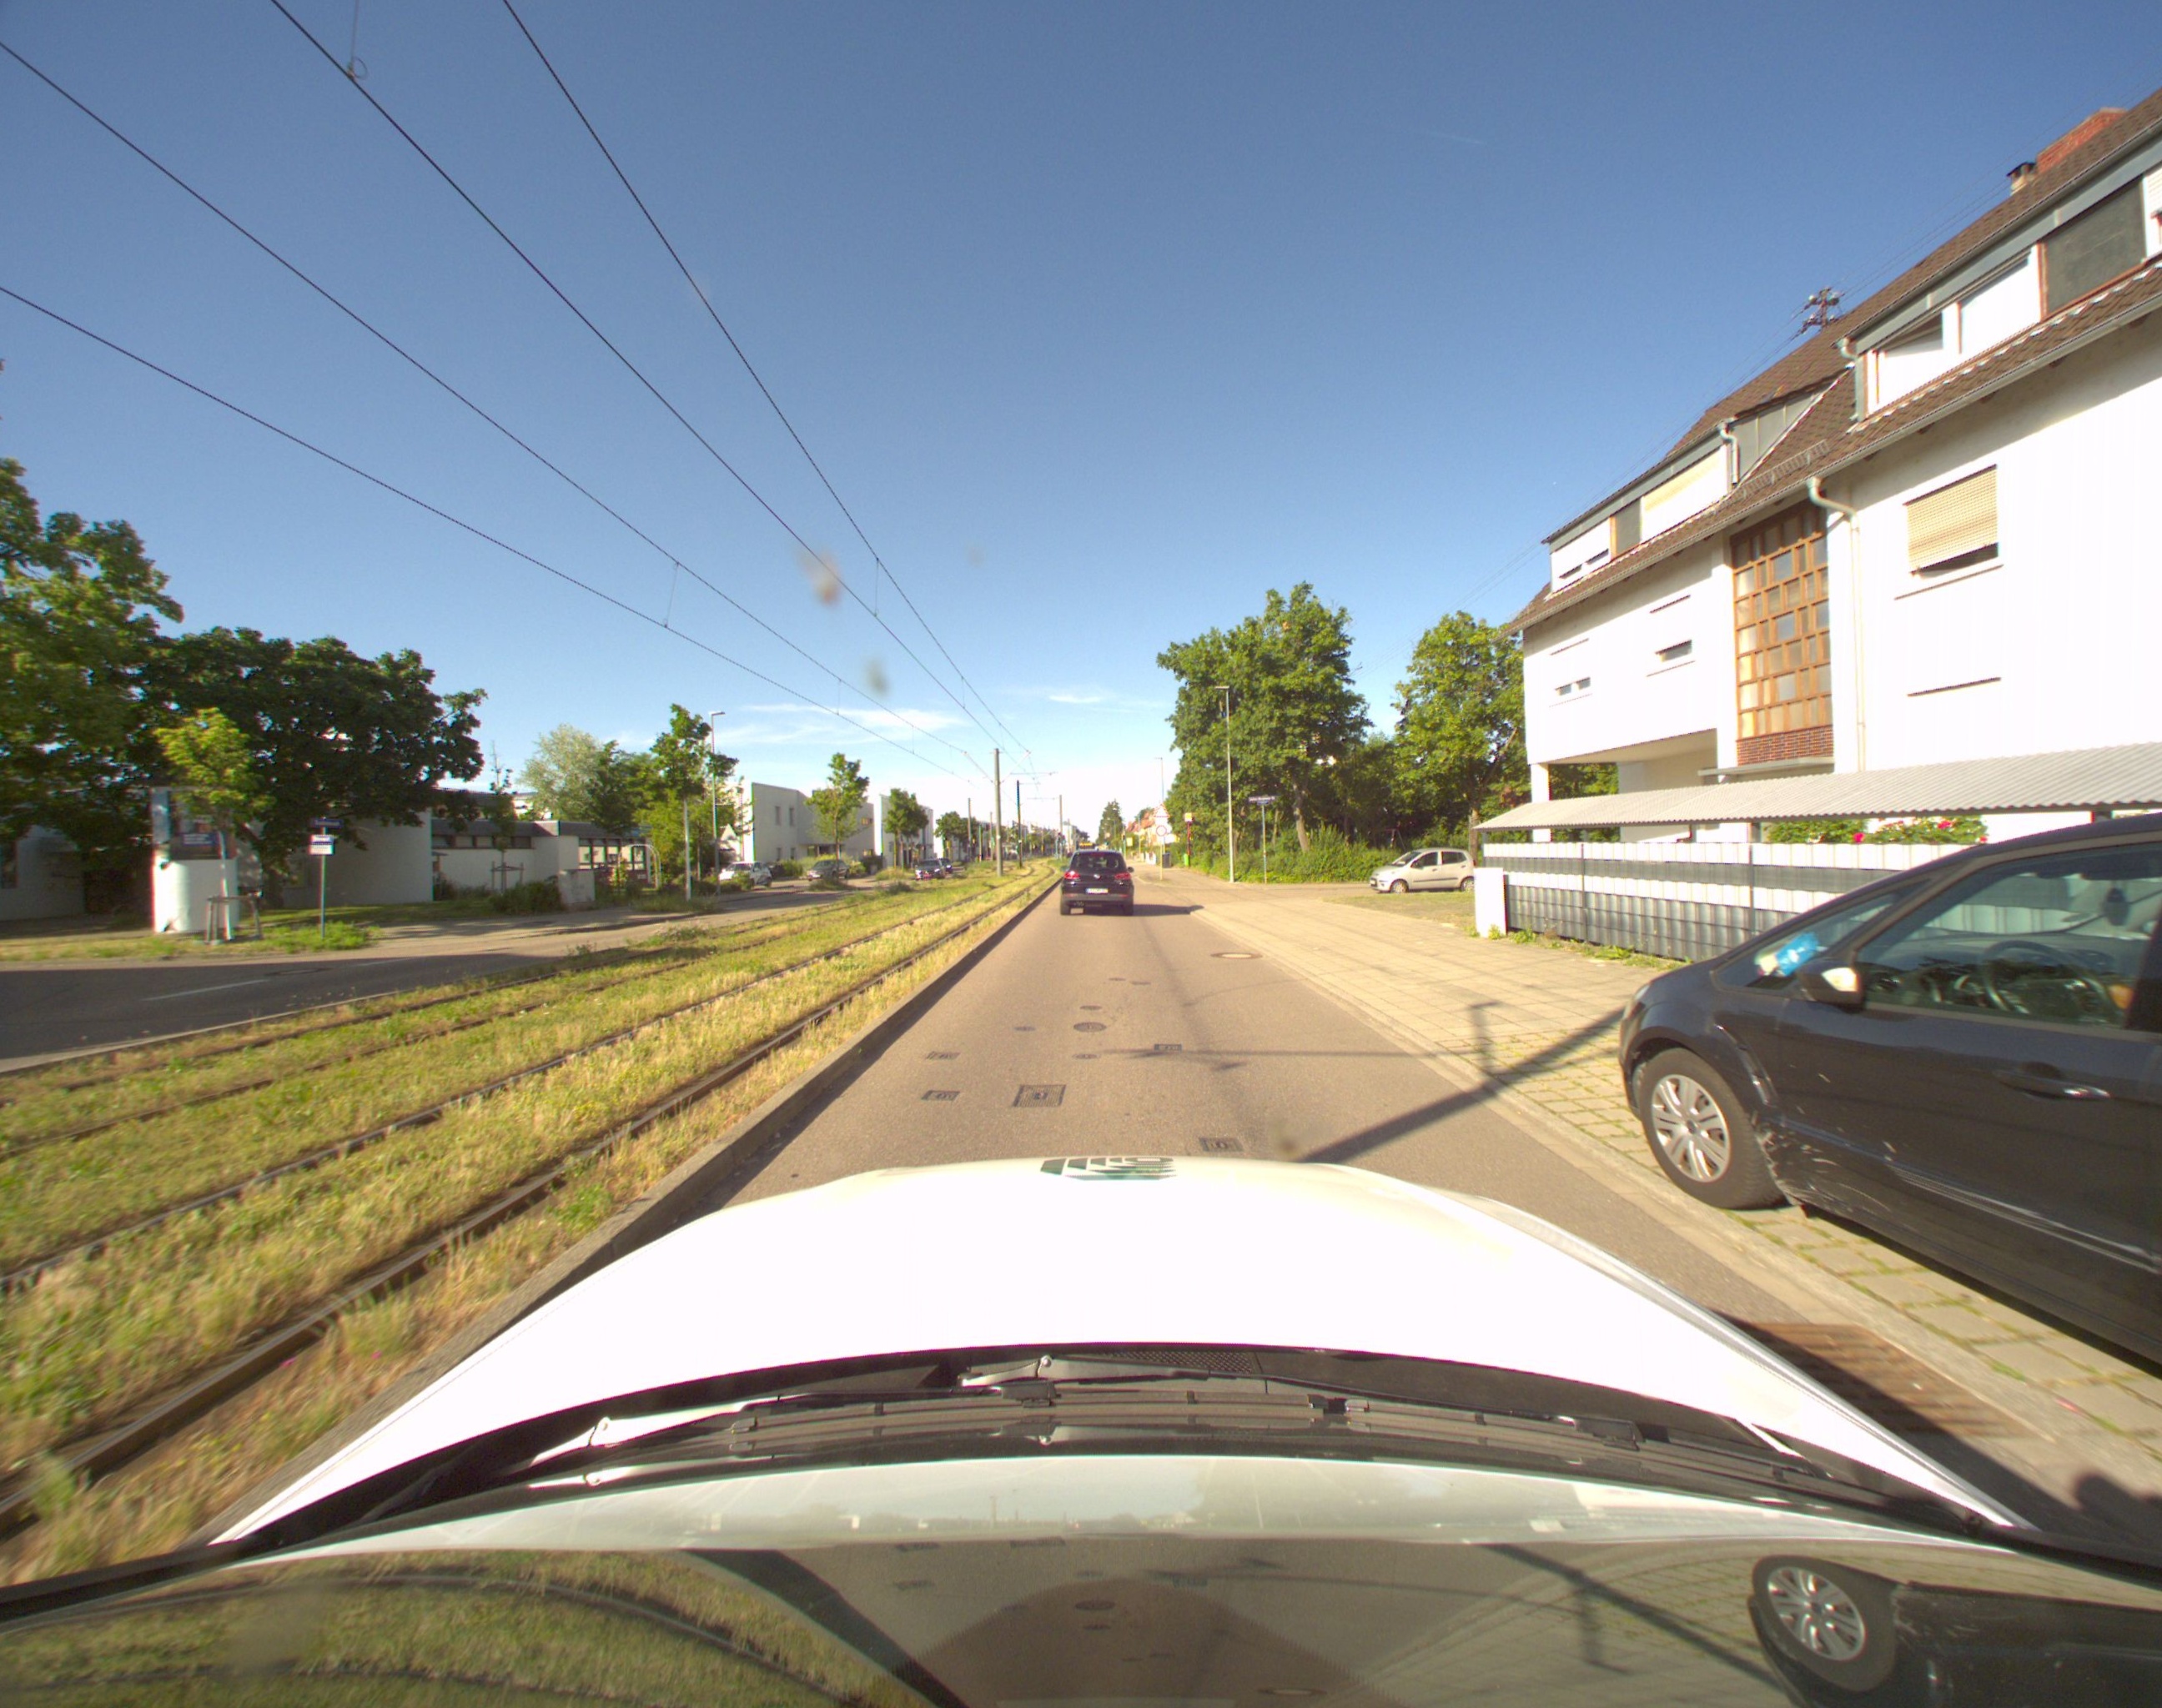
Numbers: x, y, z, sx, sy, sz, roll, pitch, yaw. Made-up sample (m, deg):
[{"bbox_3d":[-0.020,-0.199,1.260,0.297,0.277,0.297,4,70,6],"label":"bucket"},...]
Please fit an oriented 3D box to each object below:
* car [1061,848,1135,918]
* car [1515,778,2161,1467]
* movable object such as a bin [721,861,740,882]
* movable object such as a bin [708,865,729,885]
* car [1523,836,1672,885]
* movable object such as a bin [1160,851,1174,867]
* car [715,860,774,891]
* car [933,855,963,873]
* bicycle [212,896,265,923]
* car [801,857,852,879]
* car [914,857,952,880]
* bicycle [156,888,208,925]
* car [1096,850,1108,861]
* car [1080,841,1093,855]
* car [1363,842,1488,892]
[{"bbox_3d":[0.369,0.688,21.534,1.771,1.670,3.998,0,0,-1],"label":"car"},{"bbox_3d":[3.413,0.585,2.205,1.785,1.628,4.860,-4,0,0],"label":"car"},{"bbox_3d":[-24.866,1.242,57.867,0.660,1.433,1.258,0,0,9],"label":"movable object such as a bin"},{"bbox_3d":[-25.056,1.455,56.277,0.660,1.383,1.425,0,0,9],"label":"movable object such as a bin"},{"bbox_3d":[17.705,0.218,28.052,3.987,1.497,1.745,-2,0,1],"label":"car"},{"bbox_3d":[6.393,0.383,60.322,0.971,1.110,1.172,-2,0,4],"label":"movable object such as a bin"},{"bbox_3d":[-17.733,1.095,43.048,1.539,1.491,3.774,0,0,0],"label":"car"},{"bbox_3d":[-11.716,0.876,71.925,1.757,1.444,4.916,-4,0,0],"label":"car"},{"bbox_3d":[-28.024,1.855,27.099,1.241,0.825,0.333,-2,0,-9],"label":"bicycle"},{"bbox_3d":[-17.516,0.924,56.197,1.802,1.461,4.324,0,0,5],"label":"car"},{"bbox_3d":[-10.112,0.981,55.847,1.682,1.388,4.388,-4,0,0],"label":"car"},{"bbox_3d":[-28.341,1.656,25.691,1.056,1.082,0.303,-2,0,-17],"label":"bicycle"},{"bbox_3d":[3.488,0.247,133.795,1.771,1.670,3.998,-2,0,-1],"label":"car"},{"bbox_3d":[1.095,-1.129,158.490,2.386,2.564,5.531,-2,0,1],"label":"car"},{"bbox_3d":[11.767,0.433,28.006,3.581,1.530,1.648,-2,-1,2],"label":"car"}]
